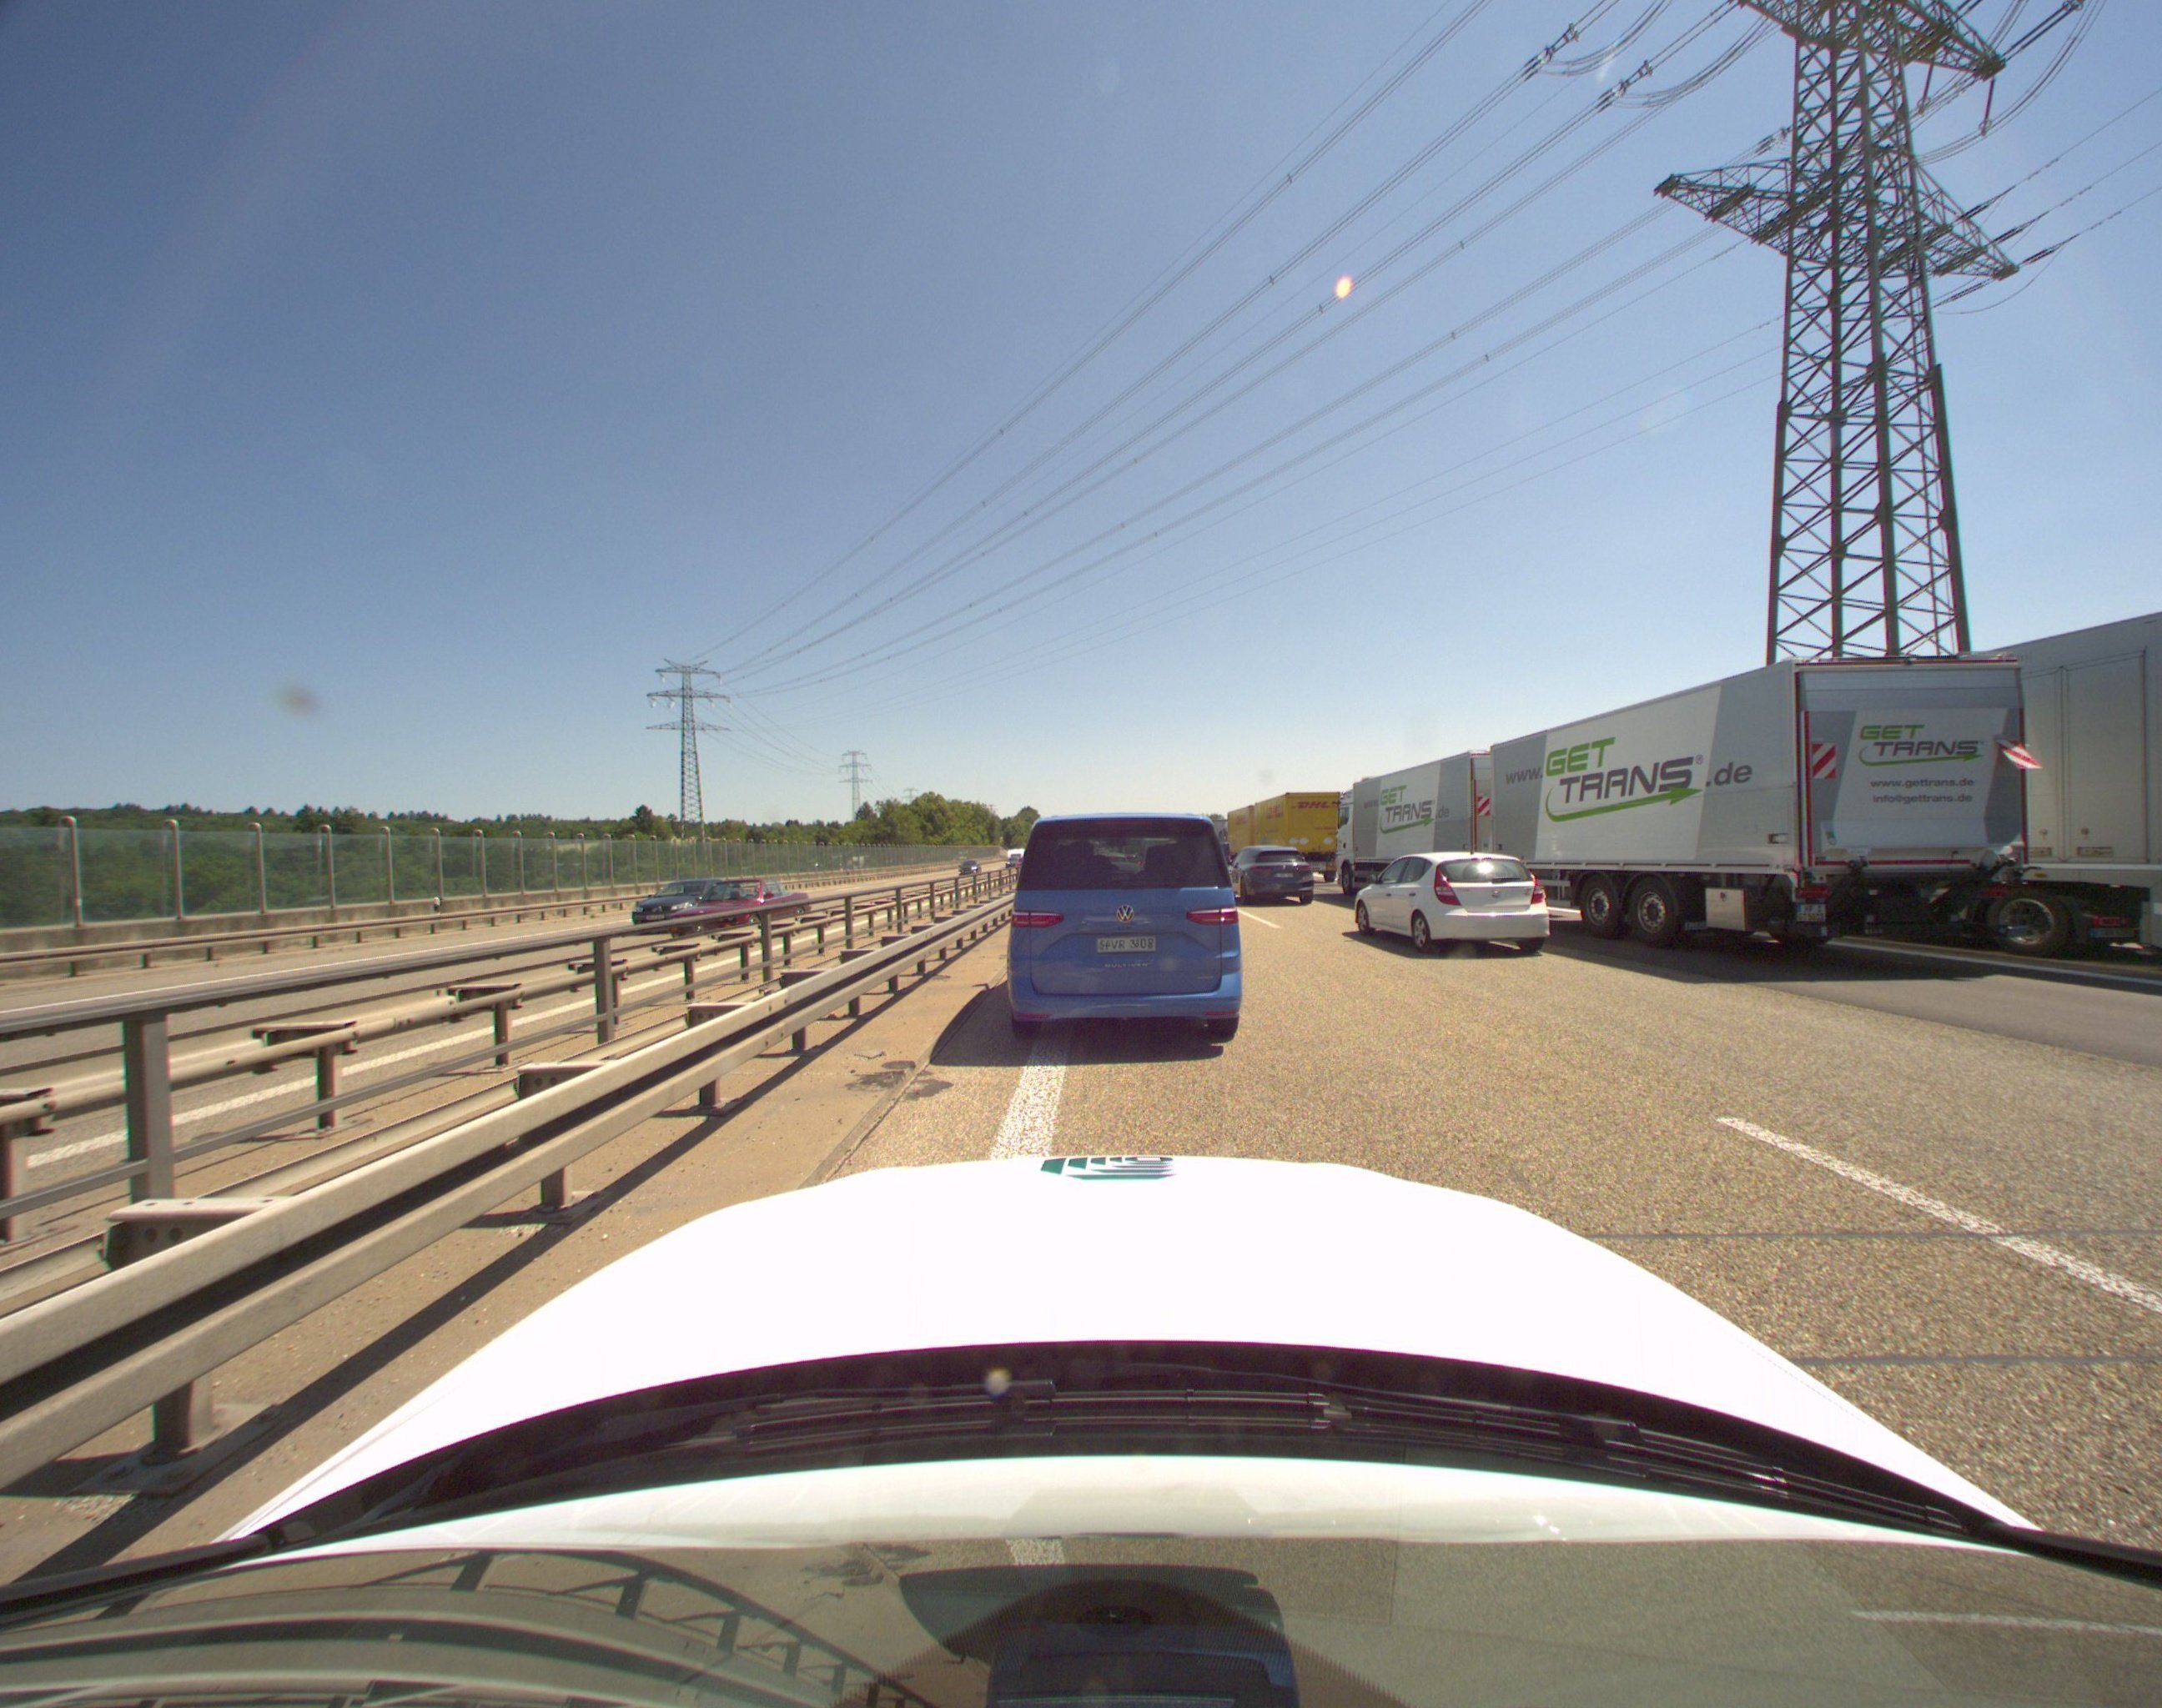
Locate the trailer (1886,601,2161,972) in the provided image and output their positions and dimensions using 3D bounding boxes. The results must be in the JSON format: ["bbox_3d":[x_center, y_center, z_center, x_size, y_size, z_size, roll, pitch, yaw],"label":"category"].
[{"bbox_3d":[13.210,-0.760,5.297,2.526,4.119,13.775,0,0,1],"label":"trailer"}]

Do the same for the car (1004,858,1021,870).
[{"bbox_3d":[-9.345,1.320,111.413,1.769,1.407,4.684,-4,0,2],"label":"car"}]

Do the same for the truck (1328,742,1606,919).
[{"bbox_3d":[9.764,-0.509,22.583,2.647,3.648,11.013,-1,0,1],"label":"truck"}]

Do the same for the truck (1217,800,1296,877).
[{"bbox_3d":[10.681,-0.842,50.839,2.826,4.243,11.013,0,0,1],"label":"truck"}]

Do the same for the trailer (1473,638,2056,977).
[{"bbox_3d":[9.520,-0.526,13.055,2.688,3.700,8.017,-1,0,1],"label":"trailer"}]

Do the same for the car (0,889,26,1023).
[{"bbox_3d":[-16.428,1.497,9.221,1.986,1.885,5.257,-2,0,1],"label":"car"}]

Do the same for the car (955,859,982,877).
[{"bbox_3d":[-10.300,1.244,74.977,1.723,1.491,4.421,-3,0,1],"label":"car"}]

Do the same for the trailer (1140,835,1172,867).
[{"bbox_3d":[7.472,-0.254,82.129,2.559,2.990,10.668,0,0,2],"label":"trailer"}]

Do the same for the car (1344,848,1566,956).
[{"bbox_3d":[5.855,0.663,13.394,1.782,1.455,4.295,-1,0,2],"label":"car"}]

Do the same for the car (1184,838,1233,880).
[{"bbox_3d":[6.516,0.251,42.160,1.954,1.993,4.295,-1,0,2],"label":"car"}]

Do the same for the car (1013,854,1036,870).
[{"bbox_3d":[-5.736,0.789,83.220,1.784,1.478,3.991,-3,0,2],"label":"car"}]

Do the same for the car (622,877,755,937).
[{"bbox_3d":[-11.008,1.431,23.193,1.591,1.350,4.181,-4,0,2],"label":"car"}]

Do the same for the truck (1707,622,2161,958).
[{"bbox_3d":[13.321,-0.788,12.873,2.507,4.119,5.717,0,0,1],"label":"truck"}]

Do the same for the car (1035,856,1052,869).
[{"bbox_3d":[-4.861,1.048,105.489,1.662,1.448,4.003,-5,0,3],"label":"car"}]

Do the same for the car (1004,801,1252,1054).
[{"bbox_3d":[0.416,0.553,8.068,1.813,1.857,4.076,0,0,2],"label":"car"}]

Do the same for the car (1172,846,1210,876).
[{"bbox_3d":[7.049,0.429,52.526,1.986,1.816,4.002,-1,0,2],"label":"car"}]

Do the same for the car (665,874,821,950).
[{"bbox_3d":[-7.517,1.231,18.597,1.592,1.317,4.343,-3,0,1],"label":"car"}]

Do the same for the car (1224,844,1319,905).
[{"bbox_3d":[5.606,0.556,24.537,1.954,1.644,4.295,-1,0,2],"label":"car"}]

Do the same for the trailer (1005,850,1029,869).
[{"bbox_3d":[-9.150,0.757,117.179,2.484,2.549,6.777,-3,0,2],"label":"trailer"}]

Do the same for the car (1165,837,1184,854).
[{"bbox_3d":[11.867,-1.097,103.191,1.986,2.013,4.463,-2,0,2],"label":"car"}]

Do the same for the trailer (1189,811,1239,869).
[{"bbox_3d":[11.007,-1.088,68.409,2.627,4.516,11.305,0,0,2],"label":"trailer"}]

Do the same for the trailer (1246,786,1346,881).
[{"bbox_3d":[10.496,-0.893,40.765,2.854,4.239,9.015,0,0,2],"label":"trailer"}]

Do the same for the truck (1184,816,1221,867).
[{"bbox_3d":[11.219,-1.079,75.835,2.657,4.484,6.852,0,0,2],"label":"truck"}]

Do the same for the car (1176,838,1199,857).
[{"bbox_3d":[11.203,-0.661,85.618,1.986,2.014,4.002,0,0,2],"label":"car"}]
